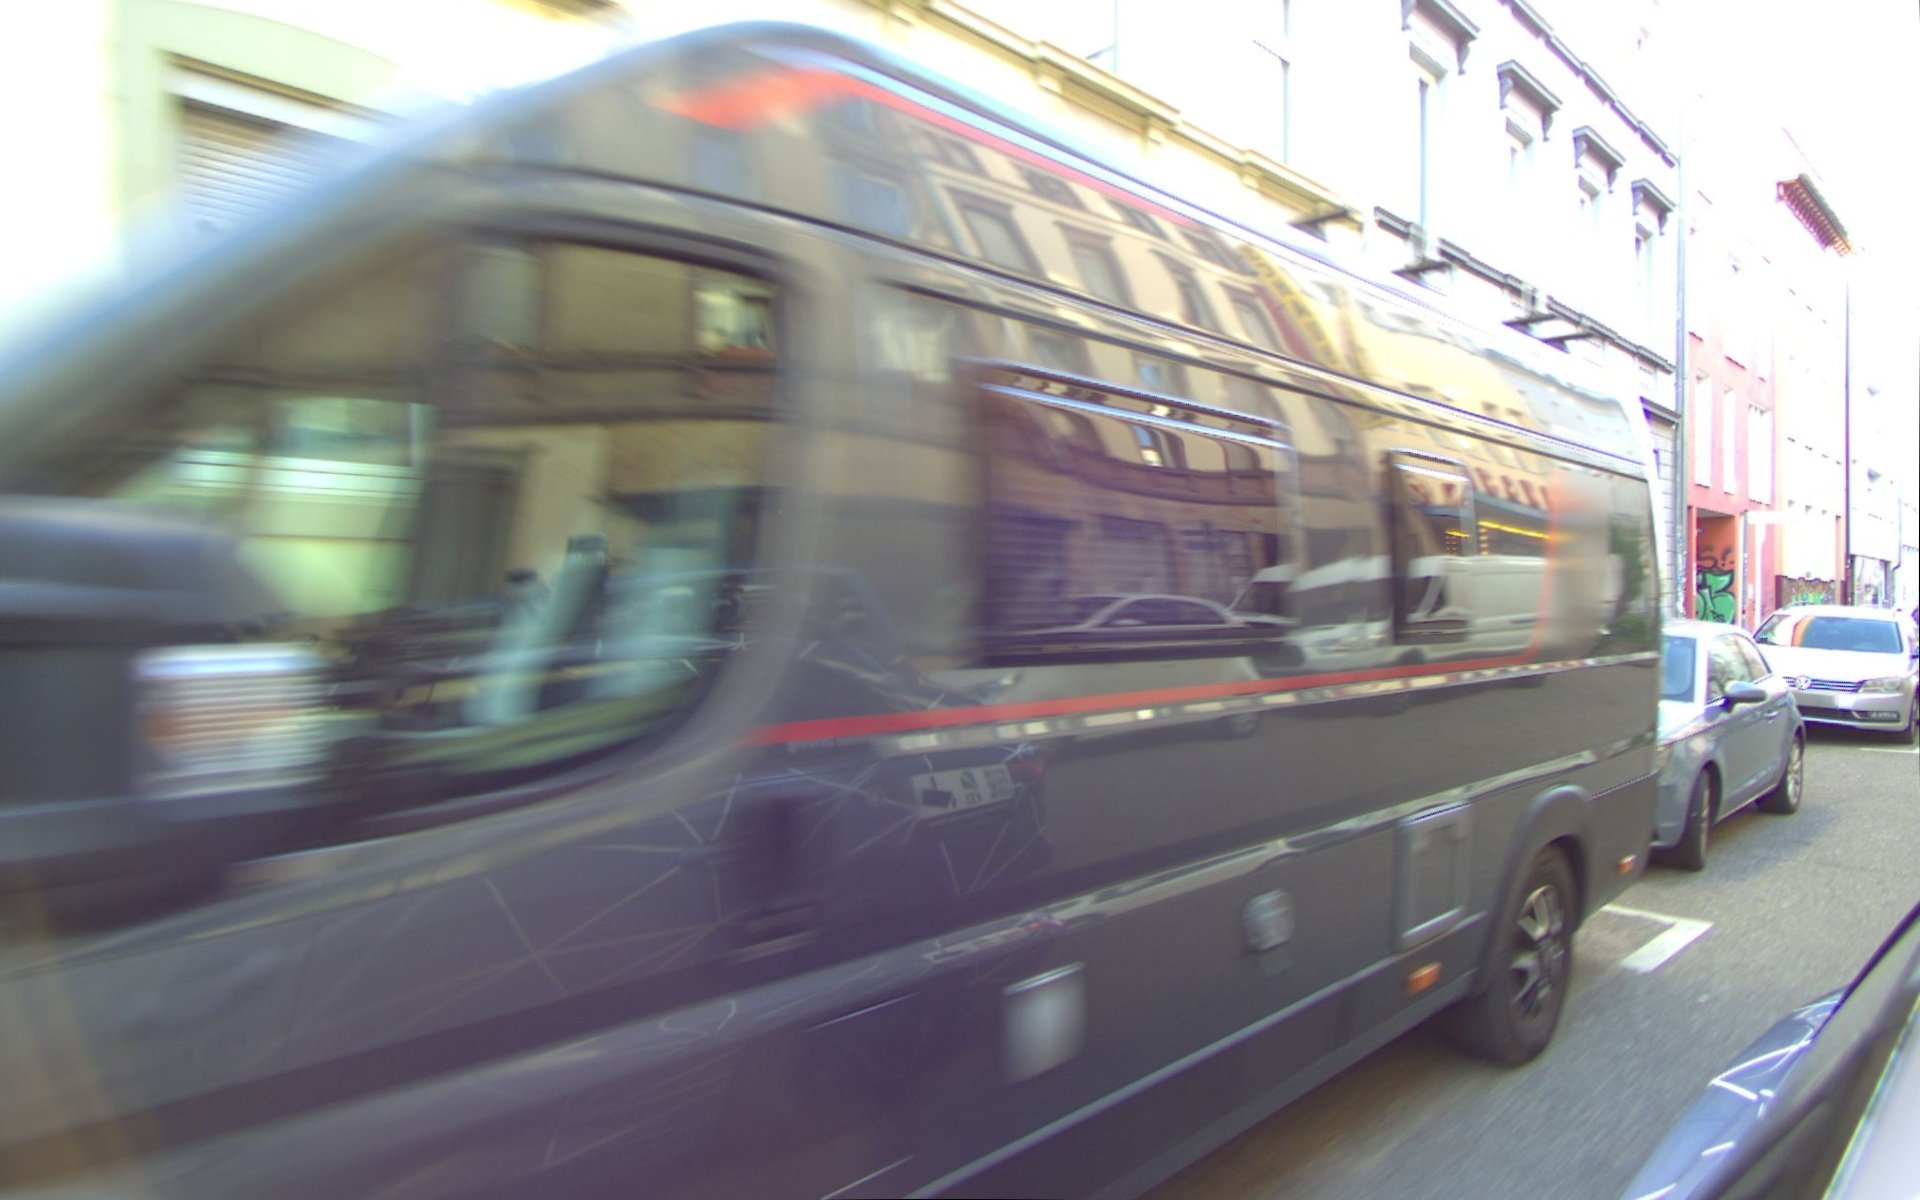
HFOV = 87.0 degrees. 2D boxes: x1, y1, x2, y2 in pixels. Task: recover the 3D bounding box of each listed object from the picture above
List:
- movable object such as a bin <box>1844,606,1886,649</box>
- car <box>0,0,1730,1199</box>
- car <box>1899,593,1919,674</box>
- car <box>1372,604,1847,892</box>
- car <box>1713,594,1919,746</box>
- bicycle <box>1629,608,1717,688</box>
[{"bbox_3d":[23.829,0.707,26.644,0.723,1.071,0.694,0,2,-40],"label":"movable object such as a bin"},{"bbox_3d":[0.101,0.201,2.966,6.199,2.455,2.179,0,2,-41],"label":"car"},{"bbox_3d":[20.233,0.685,20.272,3.388,1.558,1.606,0,3,-40],"label":"car"},{"bbox_3d":[4.795,0.771,7.233,4.098,1.463,1.750,0,0,-40],"label":"car"},{"bbox_3d":[11.027,0.712,12.523,4.468,1.472,1.790,0,3,-41],"label":"car"},{"bbox_3d":[11.115,0.712,15.751,1.869,1.110,0.711,-1,3,-43],"label":"bicycle"}]
